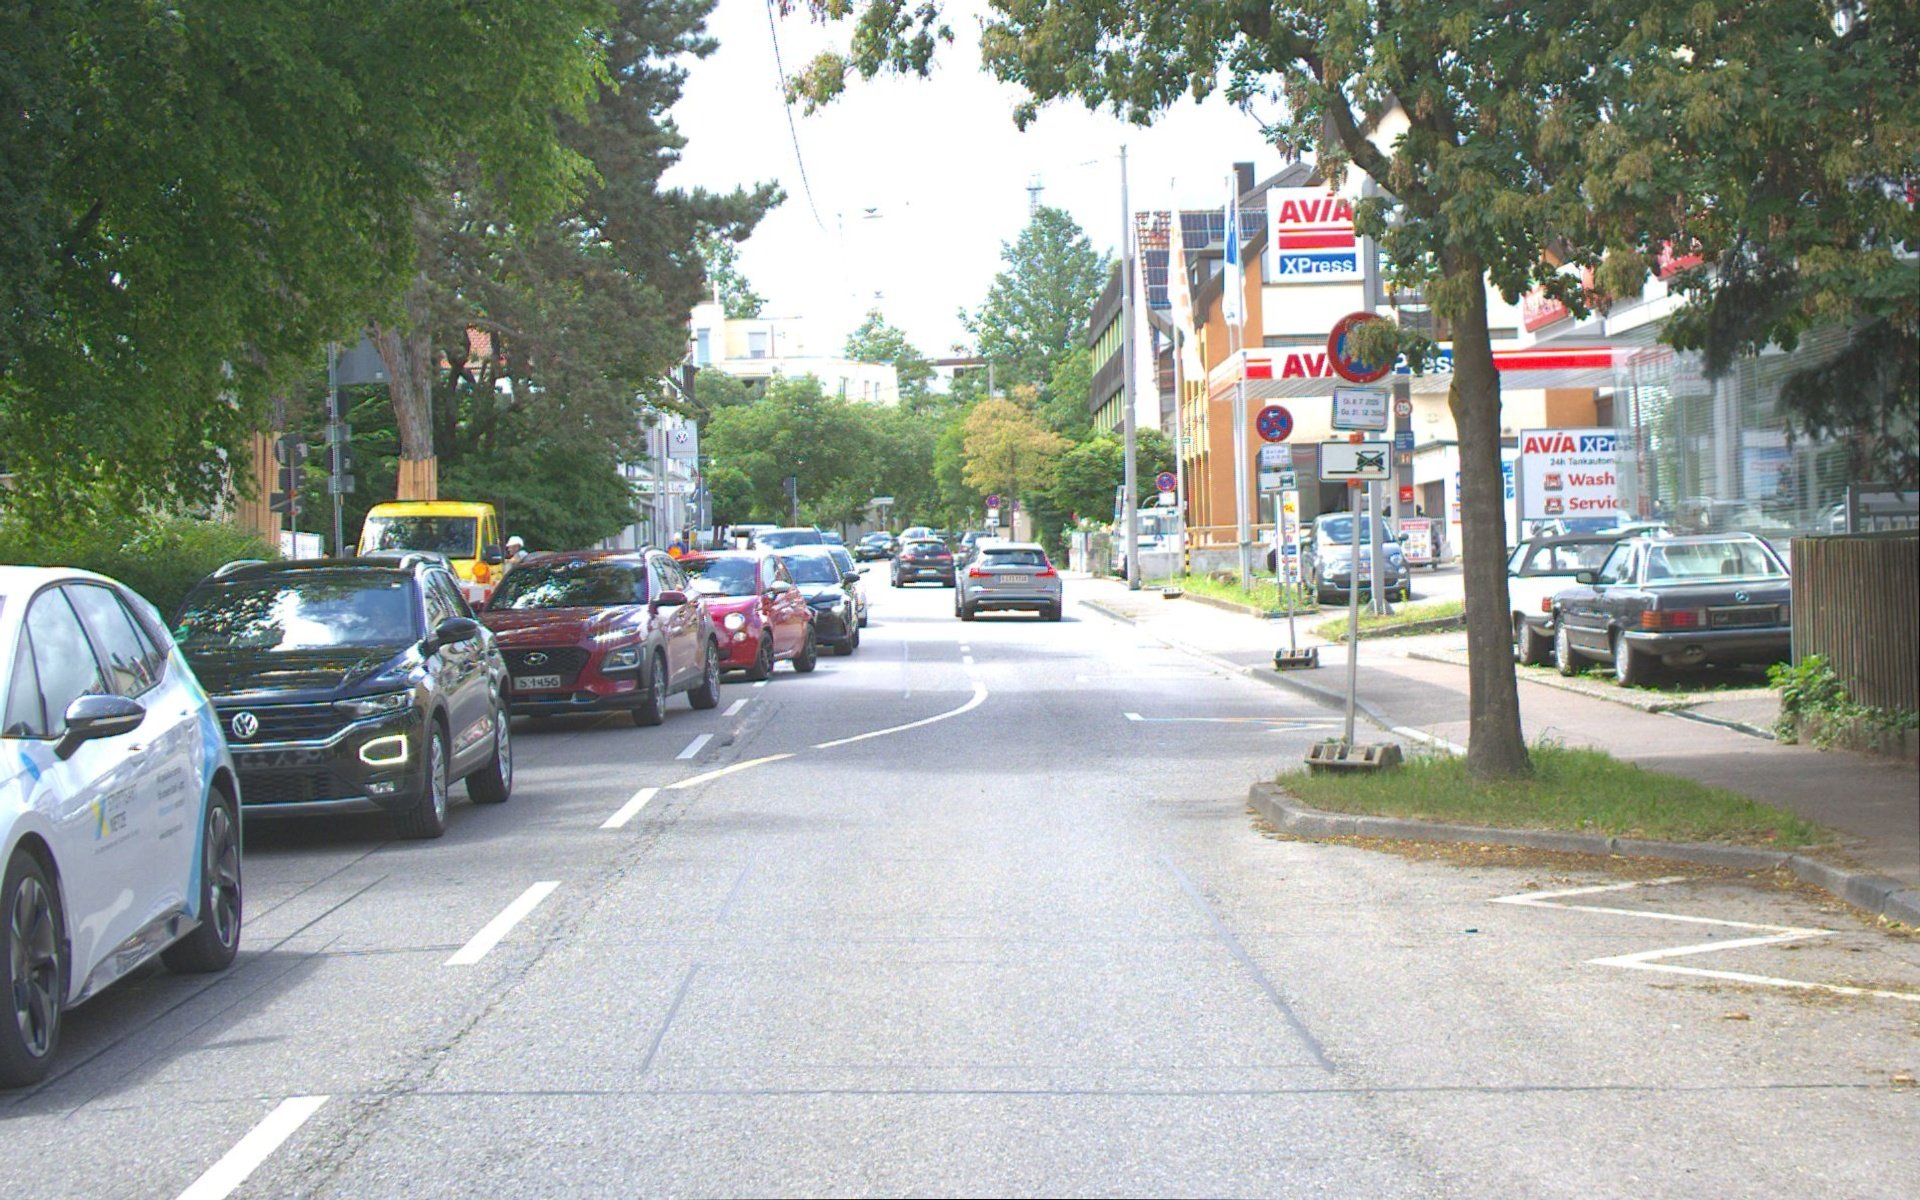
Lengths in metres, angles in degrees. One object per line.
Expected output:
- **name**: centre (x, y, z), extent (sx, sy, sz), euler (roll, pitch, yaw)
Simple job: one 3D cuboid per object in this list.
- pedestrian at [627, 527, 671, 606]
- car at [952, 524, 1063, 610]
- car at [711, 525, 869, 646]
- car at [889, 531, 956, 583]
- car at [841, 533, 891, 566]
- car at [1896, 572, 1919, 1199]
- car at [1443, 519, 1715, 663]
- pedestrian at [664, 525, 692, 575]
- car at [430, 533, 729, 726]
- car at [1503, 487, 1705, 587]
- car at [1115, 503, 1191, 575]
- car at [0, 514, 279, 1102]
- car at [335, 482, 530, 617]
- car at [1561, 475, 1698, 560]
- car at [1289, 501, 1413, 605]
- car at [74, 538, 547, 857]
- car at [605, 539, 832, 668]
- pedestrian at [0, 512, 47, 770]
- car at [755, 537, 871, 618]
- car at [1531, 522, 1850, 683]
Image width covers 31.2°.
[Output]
- **pedestrian**: centre (-5.740, -0.617, 63.425), extent (0.704, 1.434, 0.714), euler (-1, 0, -12)
- **car**: centre (0.865, -0.652, 64.986), extent (1.976, 1.508, 4.267), euler (2, 1, 0)
- **car**: centre (-2.305, -0.208, 47.693), extent (1.929, 1.572, 4.296), euler (-1, 0, 1)
- **car**: centre (-1.110, -1.279, 100.859), extent (1.816, 1.495, 4.267), euler (0, 1, -3)
- **car**: centre (-4.484, -2.437, 164.980), extent (2.111, 1.495, 4.267), euler (-1, 1, 2)
- **car**: centre (2.859, 0.703, 4.487), extent (1.824, 1.412, 4.510), euler (0, 1, -3)
- **car**: centre (6.335, -0.131, 35.674), extent (1.722, 1.359, 4.485), euler (-1, 1, -4)
- **pedestrian**: centre (-8.218, -1.455, 100.265), extent (0.704, 1.434, 0.713), euler (-1, 0, 3)
- **car**: centre (-3.344, 0.211, 30.975), extent (1.762, 1.528, 4.095), euler (-2, 1, 6)
- **car**: centre (9.290, -0.921, 49.884), extent (1.841, 1.351, 4.070), euler (-1, 1, -5)
- **car**: centre (5.539, -1.724, 99.105), extent (1.993, 2.007, 4.000), euler (-1, 0, 1)
- **car**: centre (-3.538, 0.560, 11.178), extent (1.785, 1.586, 4.154), euler (-3, 1, -1)
- **car**: centre (-8.191, -0.772, 53.842), extent (2.146, 1.974, 4.930), euler (-1, 0, 2)
- **car**: centre (14.231, -1.743, 73.237), extent (1.784, 1.629, 3.693), euler (-4, 1, -5)
- **car**: centre (6.787, -0.840, 60.028), extent (1.784, 1.629, 3.692), euler (-4, 1, 3)
- **car**: centre (-3.582, 0.462, 19.746), extent (1.789, 1.536, 4.264), euler (-3, 1, 1)
- **car**: centre (-2.757, 0.023, 39.957), extent (1.692, 1.420, 3.435), euler (-1, 0, 13)
- **pedestrian**: centre (-6.822, 0.280, 23.946), extent (0.714, 1.756, 1.122), euler (-1, 0, -6)
- **car**: centre (-2.617, -0.407, 61.990), extent (1.959, 1.389, 4.296), euler (-1, 0, -1)
- **car**: centre (6.411, -0.028, 30.623), extent (1.724, 1.312, 4.267), euler (-1, 1, -3)
